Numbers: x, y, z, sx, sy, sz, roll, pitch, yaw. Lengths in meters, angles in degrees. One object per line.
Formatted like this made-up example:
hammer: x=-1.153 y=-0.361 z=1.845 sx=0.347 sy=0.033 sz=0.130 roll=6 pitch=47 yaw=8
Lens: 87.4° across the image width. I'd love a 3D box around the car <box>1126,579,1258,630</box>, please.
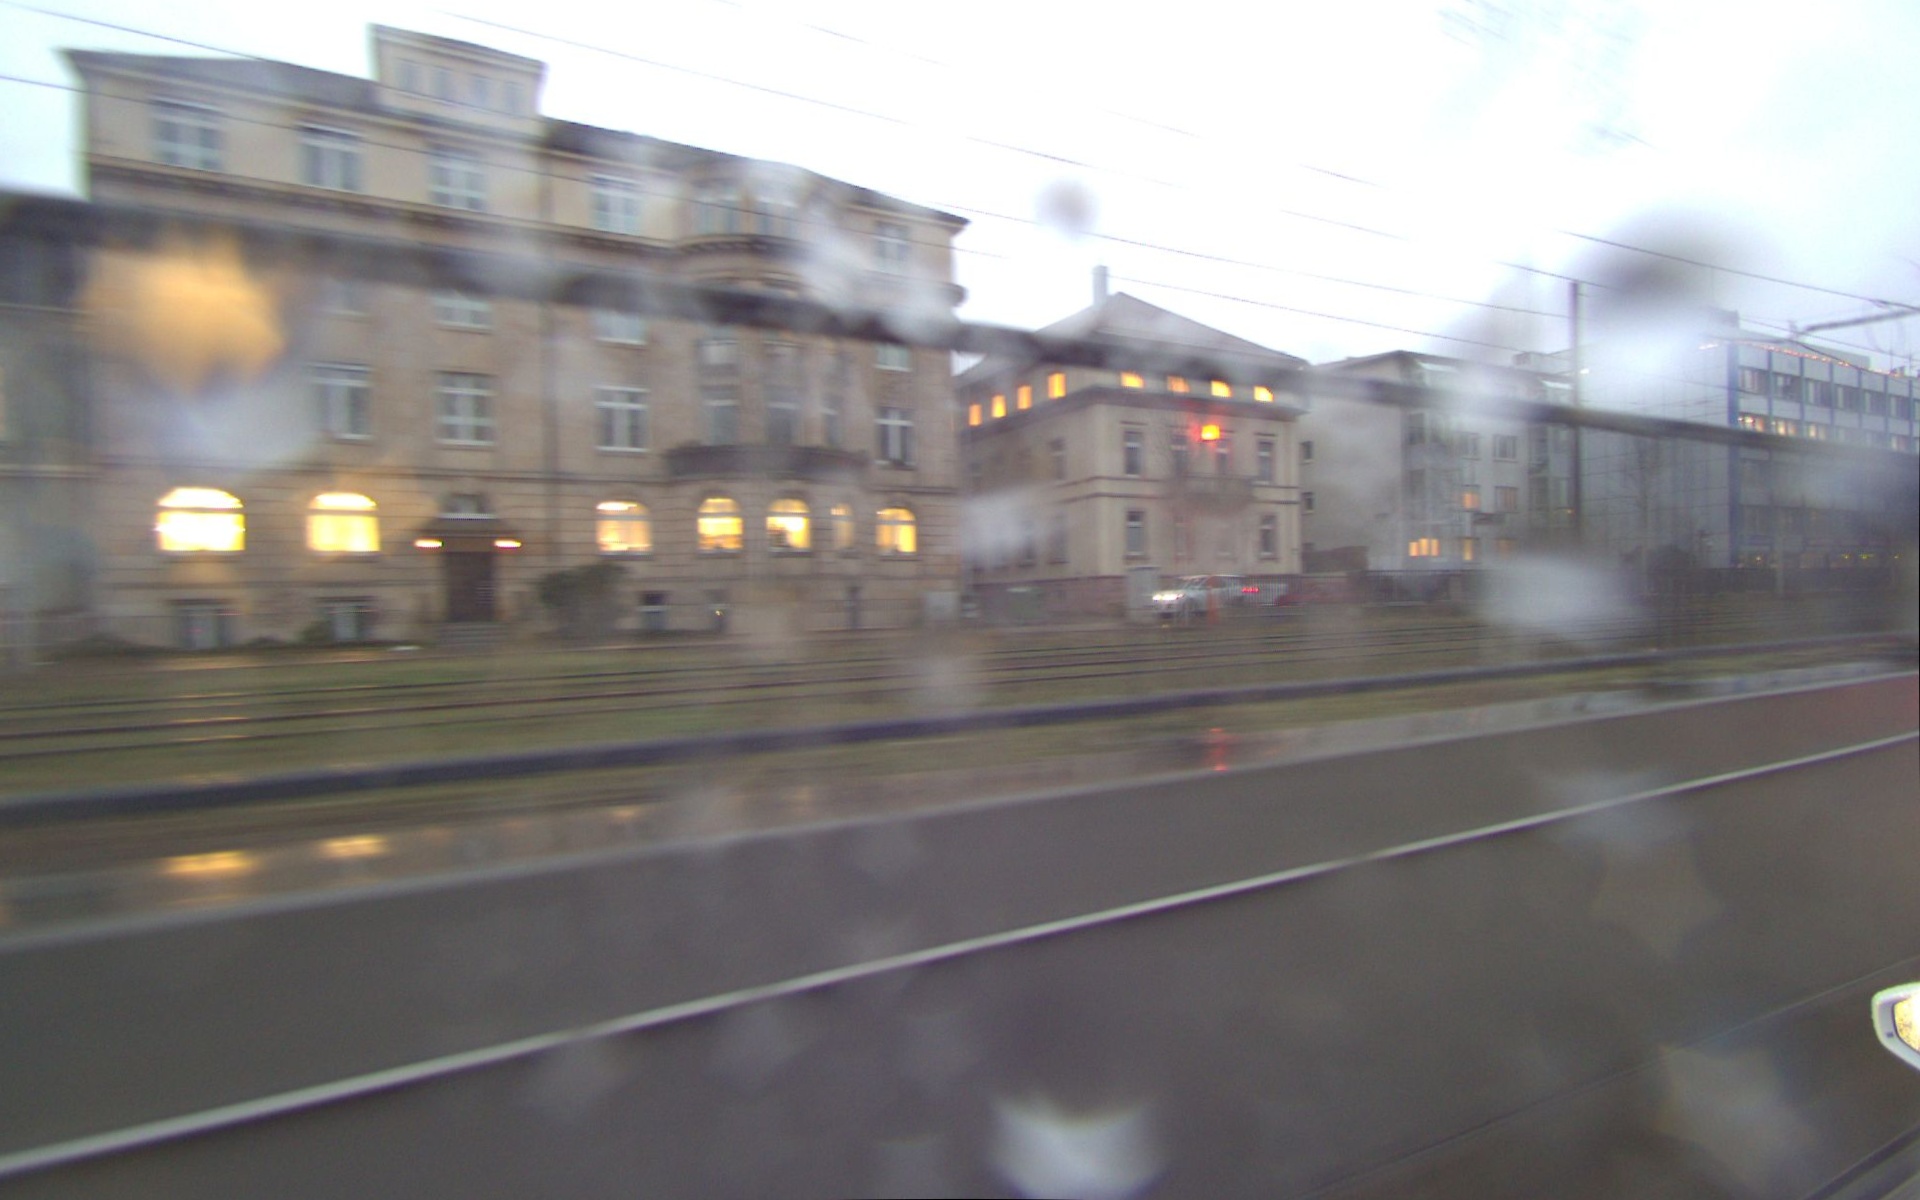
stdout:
car: x=8.238 y=0.136 z=35.590 sx=4.374 sy=1.653 sz=1.985 roll=-1 pitch=1 yaw=-29
